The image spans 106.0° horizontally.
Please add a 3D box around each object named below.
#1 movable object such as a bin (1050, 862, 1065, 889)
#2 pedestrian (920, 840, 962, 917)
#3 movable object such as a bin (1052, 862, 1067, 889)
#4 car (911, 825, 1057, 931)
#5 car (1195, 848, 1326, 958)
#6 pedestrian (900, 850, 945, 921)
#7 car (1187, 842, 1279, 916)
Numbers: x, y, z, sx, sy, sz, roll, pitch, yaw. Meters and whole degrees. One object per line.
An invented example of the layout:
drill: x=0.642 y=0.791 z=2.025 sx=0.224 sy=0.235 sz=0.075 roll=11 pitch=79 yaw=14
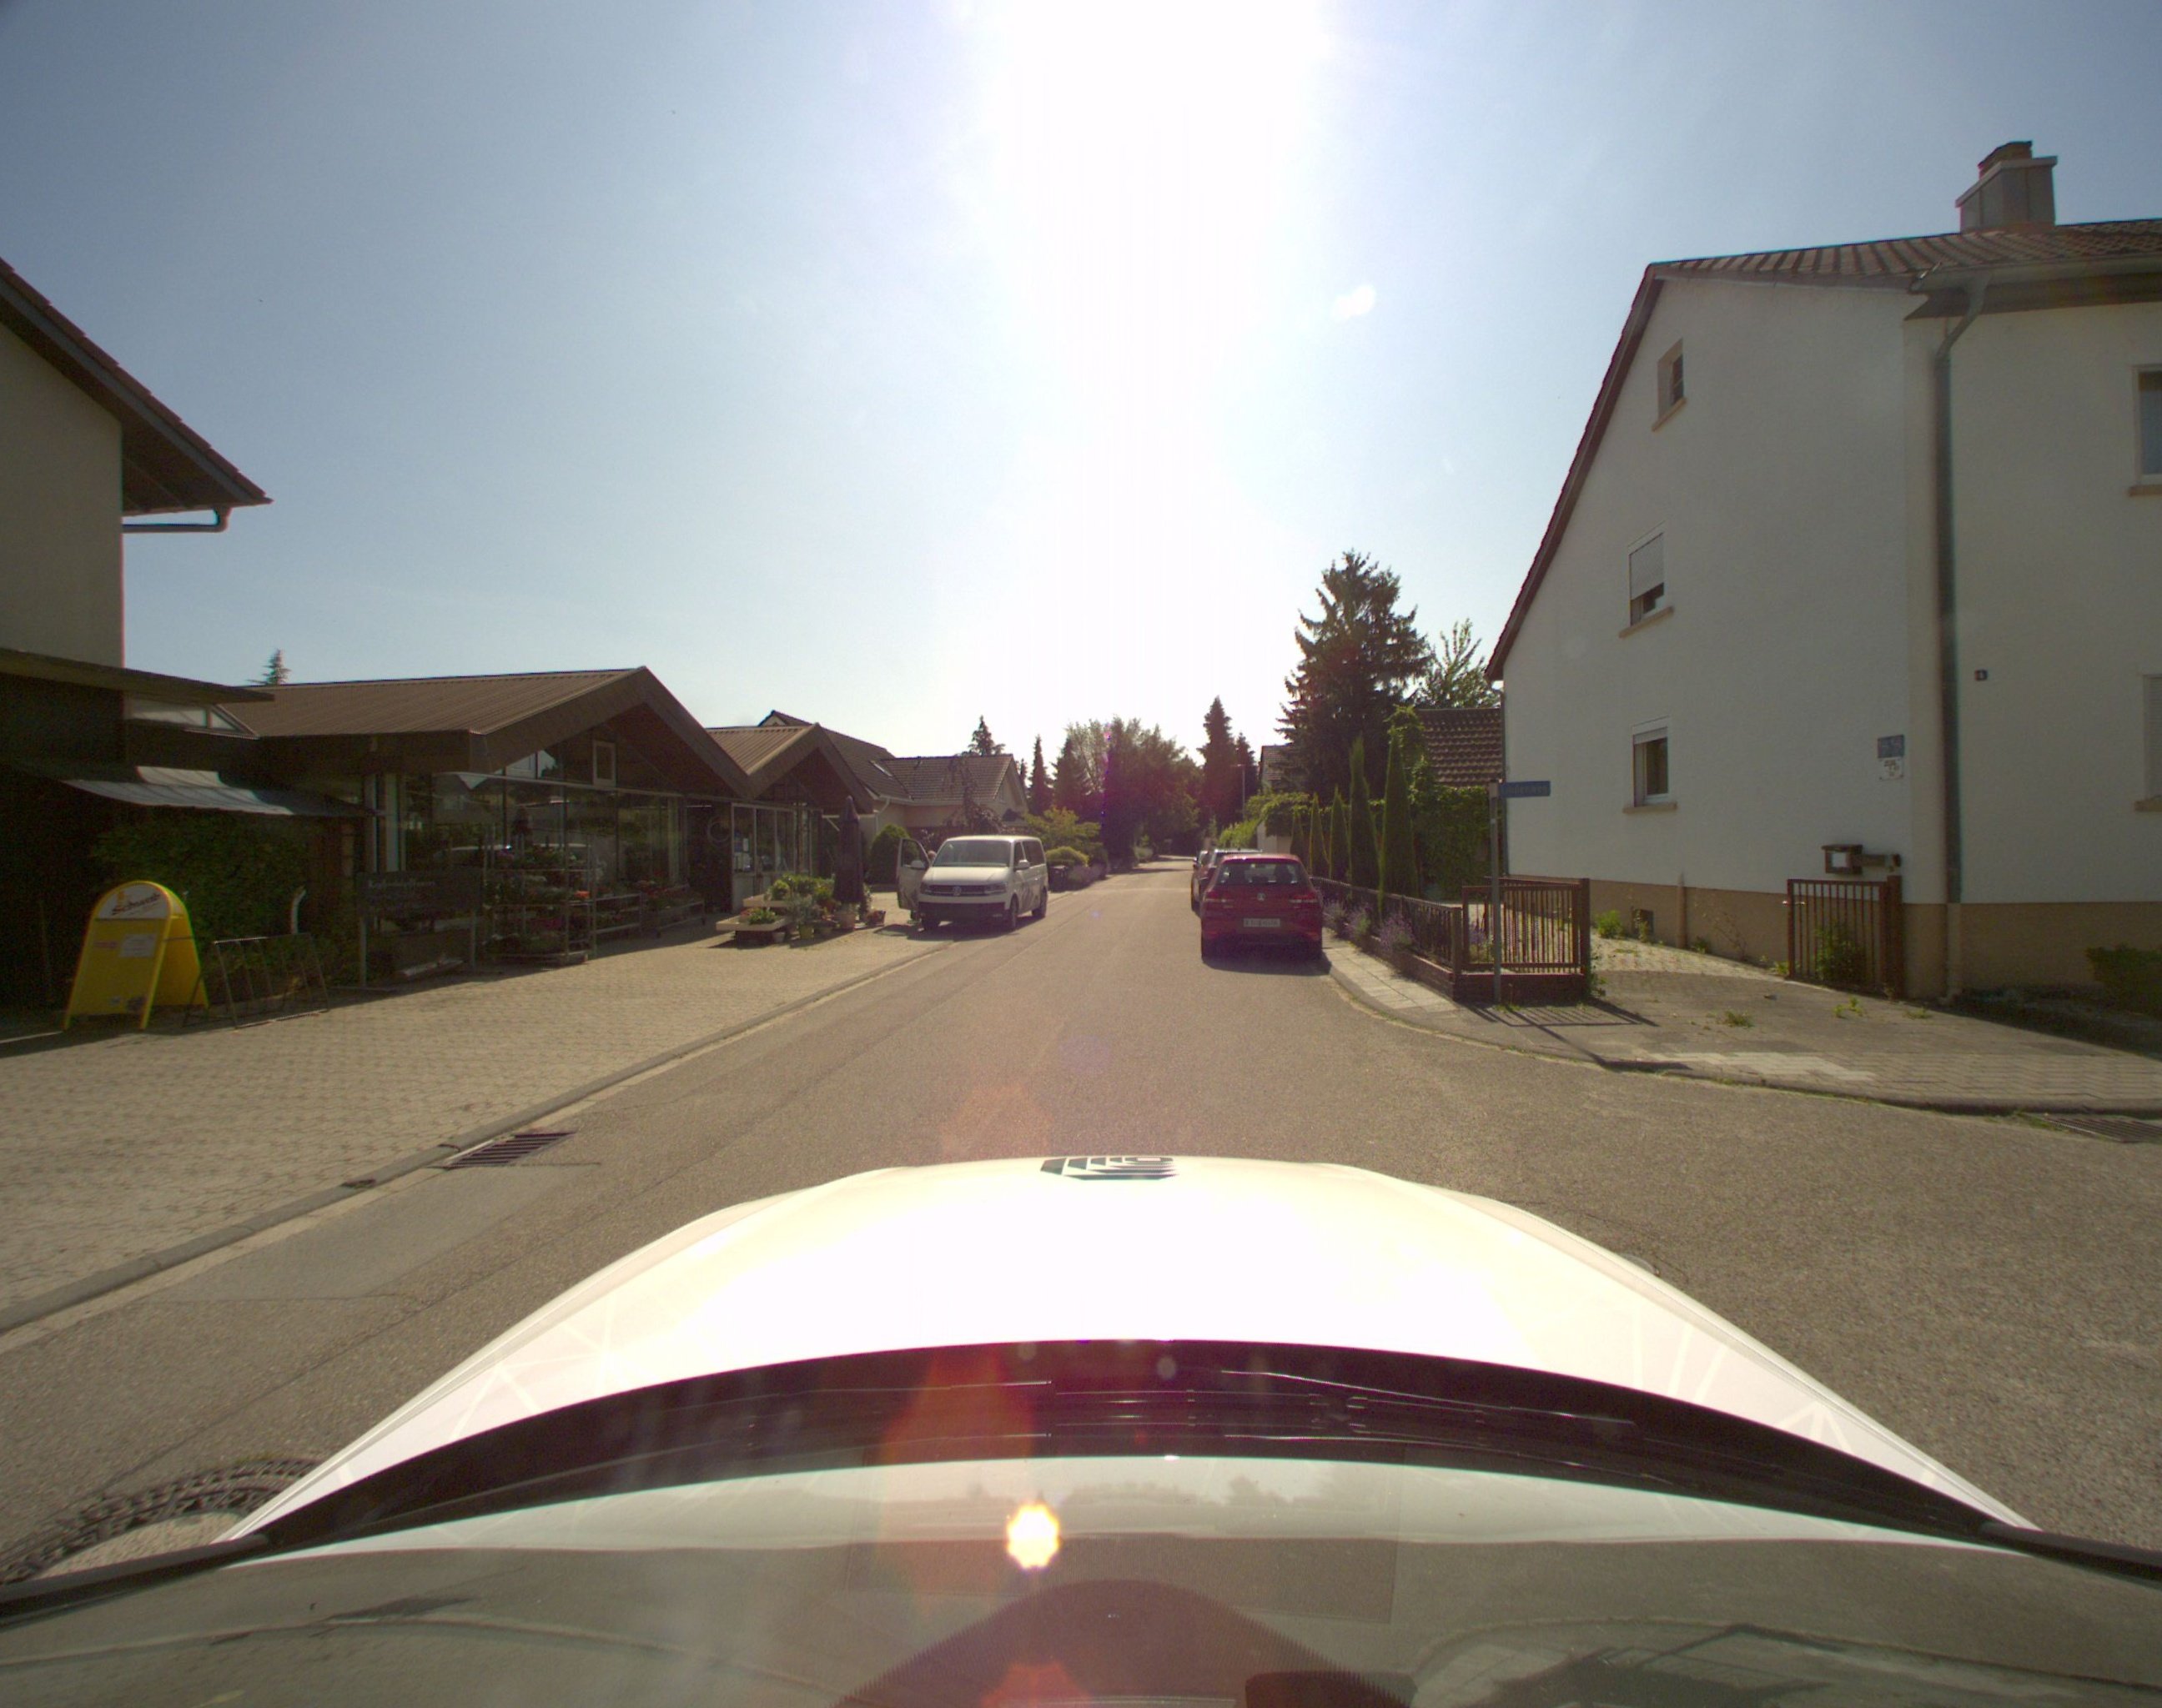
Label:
movable object such as a bin: x=-0.891 y=0.831 z=31.211 sx=0.491 sy=1.024 sz=0.448 roll=-2 pitch=0 yaw=7
pedestrian: x=-3.261 y=0.556 z=19.003 sx=0.683 sy=1.731 sz=0.646 roll=0 pitch=1 yaw=38
movable object such as a bin: x=-0.823 y=0.844 z=31.683 sx=0.491 sy=1.024 sz=0.448 roll=-2 pitch=0 yaw=7
car: x=-1.951 y=0.459 z=18.107 sx=1.917 sy=2.013 sz=4.908 roll=-1 pitch=0 yaw=9
car: x=2.839 y=0.651 z=13.210 sx=1.764 sy=1.479 sz=4.012 roll=1 pitch=0 yaw=11
pedestrian: x=-3.537 y=0.681 z=18.173 sx=0.710 sy=1.538 sz=0.646 roll=0 pitch=1 yaw=40
car: x=3.591 y=0.542 z=19.901 sx=1.814 sy=1.615 sz=4.005 roll=0 pitch=0 yaw=5
